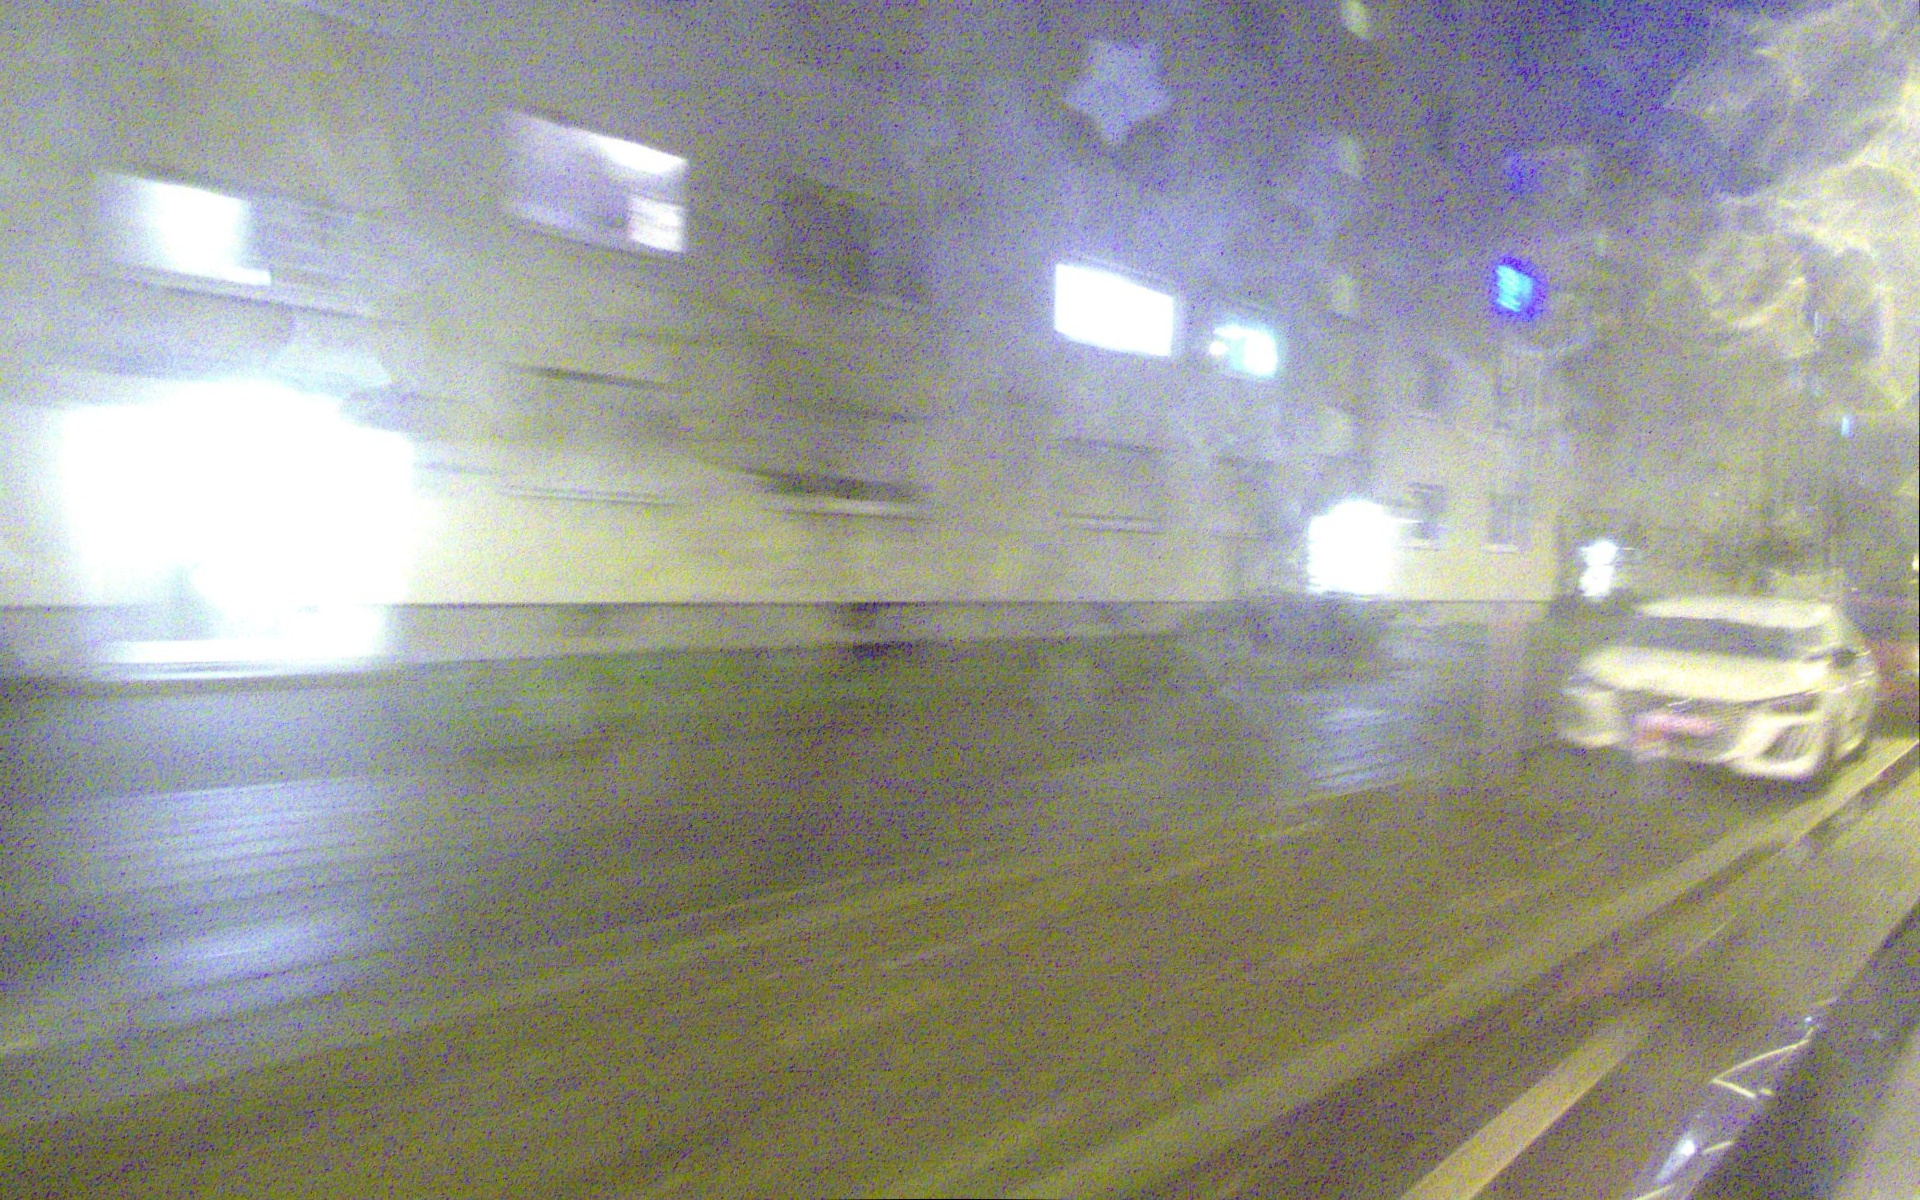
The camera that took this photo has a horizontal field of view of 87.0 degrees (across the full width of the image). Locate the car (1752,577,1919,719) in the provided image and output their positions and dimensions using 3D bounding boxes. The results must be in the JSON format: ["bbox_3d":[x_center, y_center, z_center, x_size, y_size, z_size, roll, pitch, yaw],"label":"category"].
[{"bbox_3d":[11.552,0.504,12.597,4.410,1.439,1.826,0,4,-41],"label":"car"}]

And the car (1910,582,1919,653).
[{"bbox_3d":[23.403,0.433,23.087,4.273,1.566,1.830,0,4,-38],"label":"car"}]

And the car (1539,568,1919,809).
[{"bbox_3d":[7.080,0.565,9.050,4.700,1.549,1.826,0,4,-41],"label":"car"}]

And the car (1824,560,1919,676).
[{"bbox_3d":[15.752,0.265,16.525,4.410,1.657,1.826,0,4,-41],"label":"car"}]

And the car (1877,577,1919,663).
[{"bbox_3d":[19.736,0.393,19.975,4.964,1.549,1.803,0,4,-41],"label":"car"}]
